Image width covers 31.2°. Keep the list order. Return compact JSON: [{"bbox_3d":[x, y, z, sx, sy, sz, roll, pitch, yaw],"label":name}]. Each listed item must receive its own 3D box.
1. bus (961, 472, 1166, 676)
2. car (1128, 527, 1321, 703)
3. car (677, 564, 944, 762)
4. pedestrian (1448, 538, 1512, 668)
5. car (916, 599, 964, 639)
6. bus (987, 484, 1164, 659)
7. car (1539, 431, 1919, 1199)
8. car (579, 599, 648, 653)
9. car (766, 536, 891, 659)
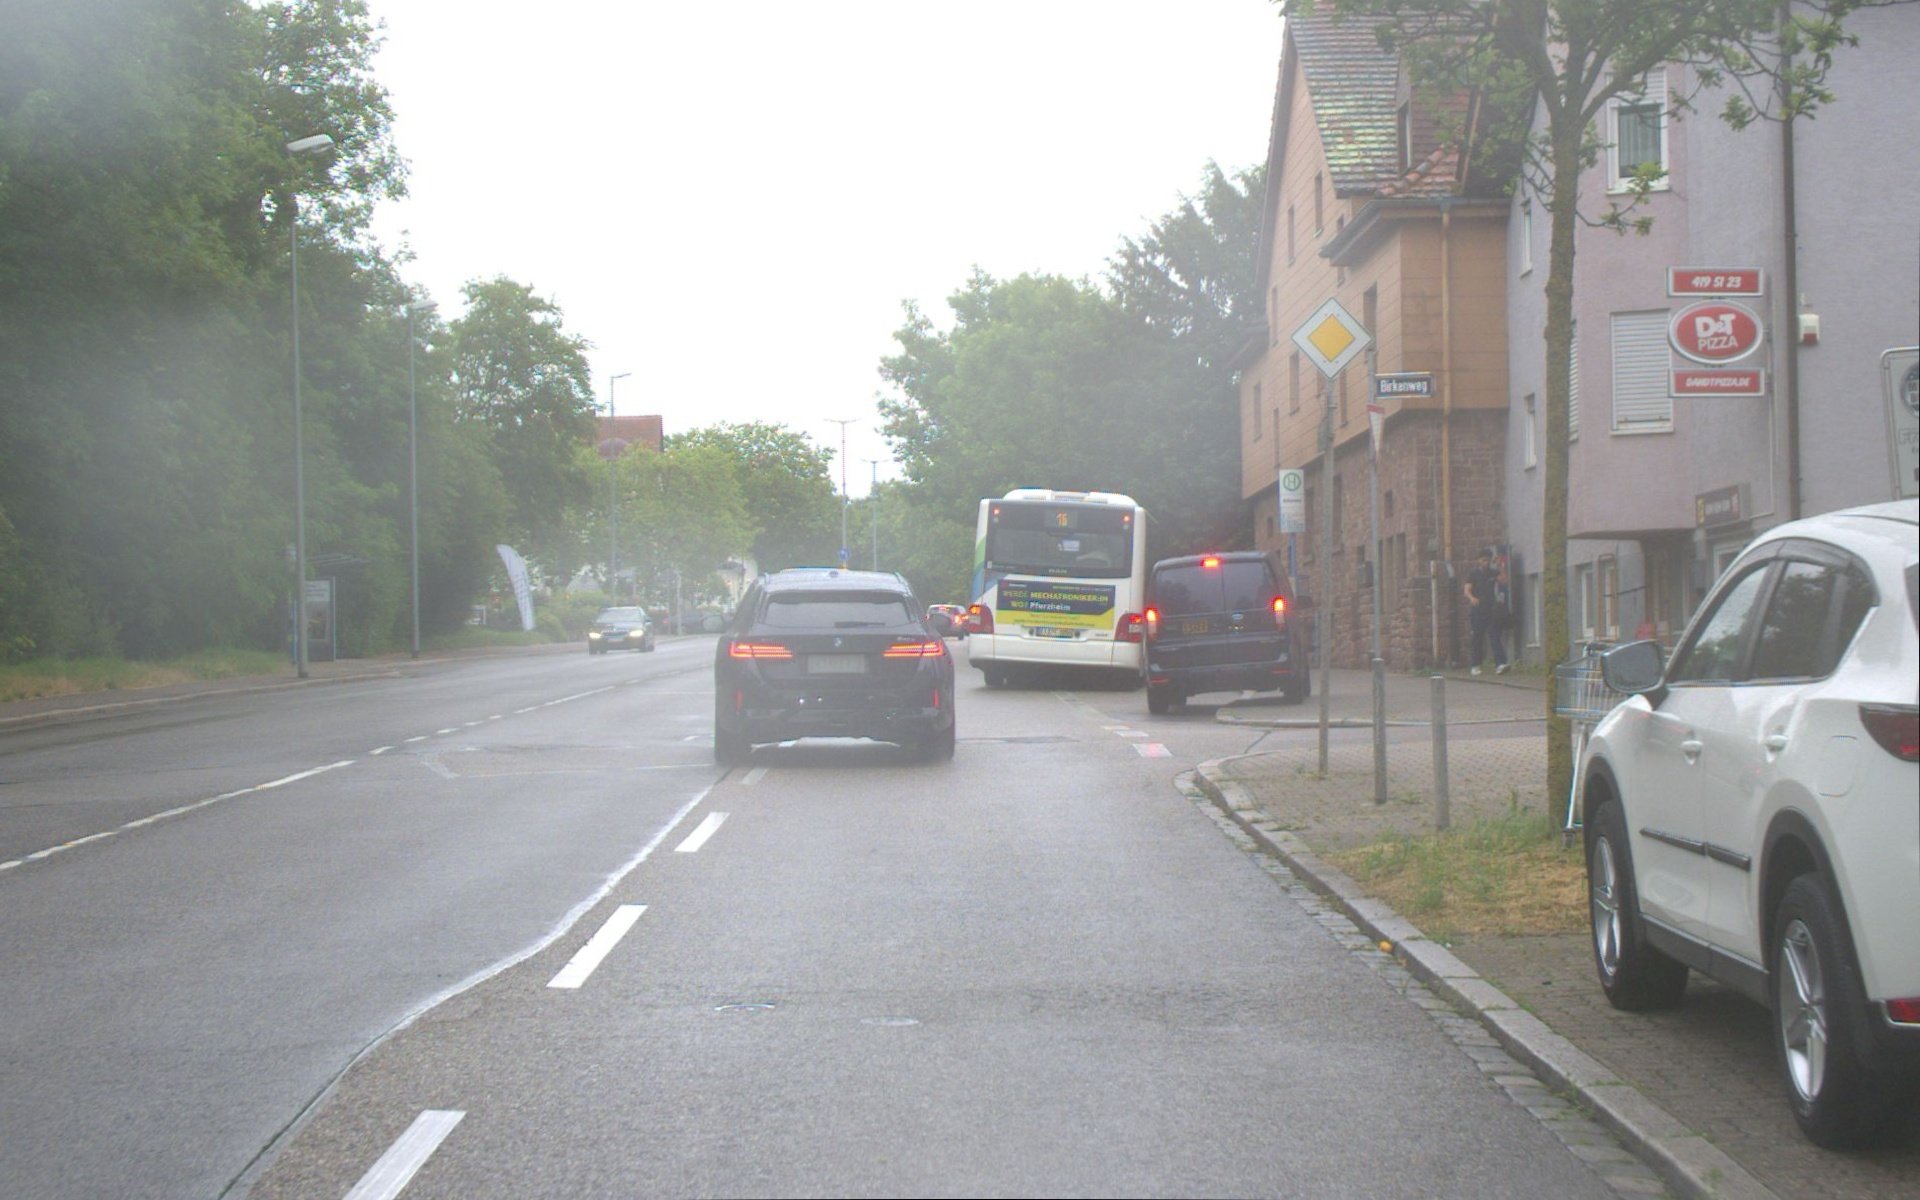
[{"bbox_3d":[1.724,-0.424,53.344,2.623,2.838,8.287,-2,1,5],"label":"bus"},{"bbox_3d":[3.273,0.187,41.727,1.927,1.886,4.759,-4,-1,8],"label":"car"},{"bbox_3d":[-1.270,0.468,28.249,1.993,1.448,4.001,2,0,-4],"label":"car"},{"bbox_3d":[7.146,0.046,47.252,0.690,1.748,0.669,-2,0,-1],"label":"pedestrian"},{"bbox_3d":[-0.829,0.786,142.382,1.865,1.514,4.001,-1,1,-2],"label":"car"},{"bbox_3d":[1.968,-0.518,62.321,2.623,2.838,9.795,-2,1,-1],"label":"bus"},{"bbox_3d":[3.013,0.453,10.149,1.824,1.766,4.541,-2,1,0],"label":"car"},{"bbox_3d":[-10.730,0.793,106.761,1.770,1.528,4.000,-2,1,-1],"label":"car"},{"bbox_3d":[-2.193,-0.053,58.429,1.993,2.007,4.000,0,0,0],"label":"car"}]
